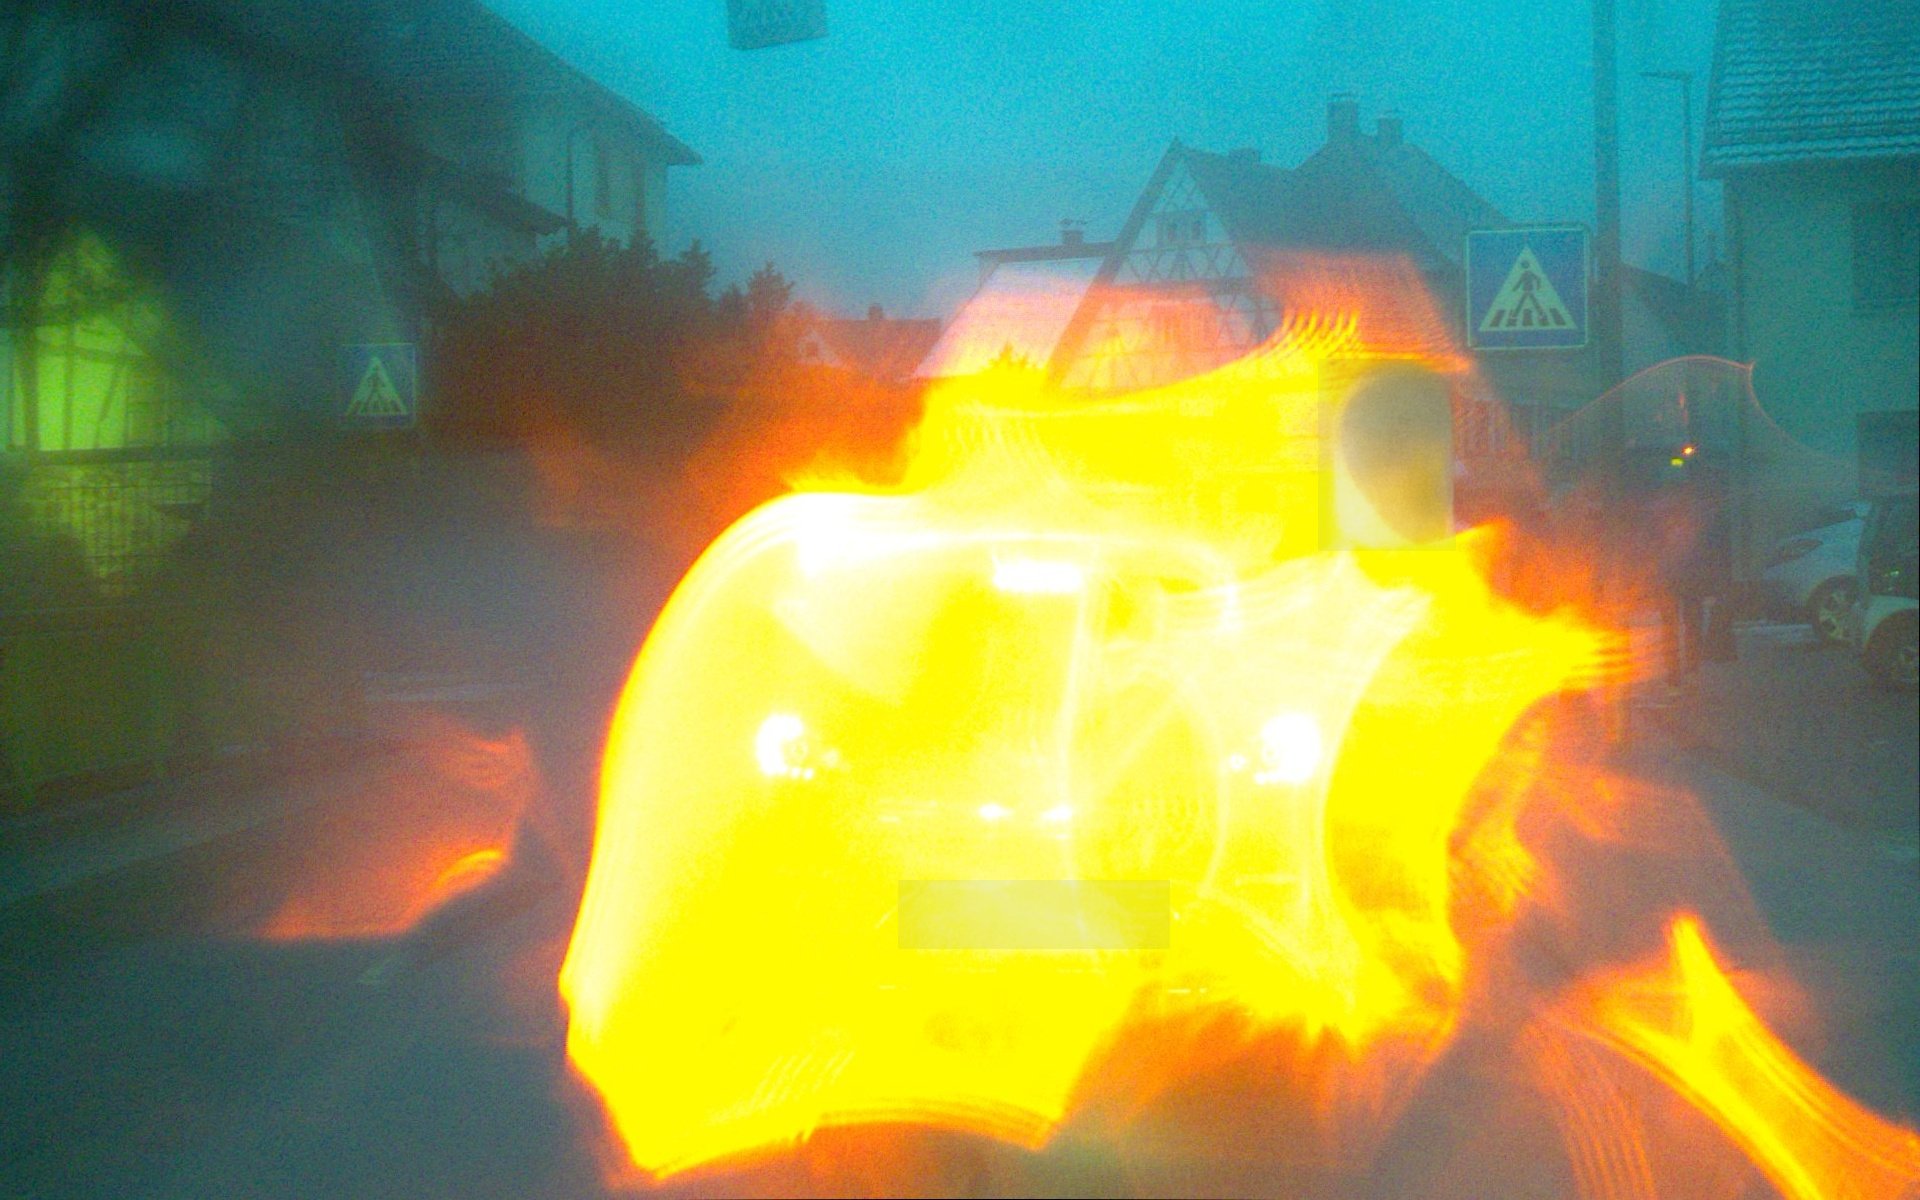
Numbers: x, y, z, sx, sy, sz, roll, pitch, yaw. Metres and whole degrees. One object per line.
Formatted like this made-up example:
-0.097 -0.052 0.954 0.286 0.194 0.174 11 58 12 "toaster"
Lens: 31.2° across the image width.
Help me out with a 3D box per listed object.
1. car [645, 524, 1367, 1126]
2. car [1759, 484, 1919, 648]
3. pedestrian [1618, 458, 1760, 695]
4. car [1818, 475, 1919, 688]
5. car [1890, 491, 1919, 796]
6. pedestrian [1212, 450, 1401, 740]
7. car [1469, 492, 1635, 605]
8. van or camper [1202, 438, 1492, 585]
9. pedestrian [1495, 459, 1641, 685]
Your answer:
0.045 0.516 10.555 1.795 1.471 4.001 0 2 -2 "car"
9.617 -0.385 32.638 3.902 1.469 1.750 -2 1 14 "car"
5.564 -0.186 26.208 0.849 1.727 0.971 -4 1 19 "pedestrian"
7.900 -0.199 26.004 2.584 1.542 1.551 -2 2 11 "car"
6.055 0.146 16.808 2.764 1.469 1.426 -2 1 11 "car"
2.181 -0.044 21.551 0.880 1.729 0.955 -4 1 19 "pedestrian"
8.986 -0.795 51.931 1.849 1.631 4.332 0 1 18 "car"
8.944 -2.023 79.553 6.068 2.945 2.403 -4 0 26 "van or camper"
4.692 -0.225 26.473 0.868 1.661 0.991 -4 1 18 "pedestrian"
